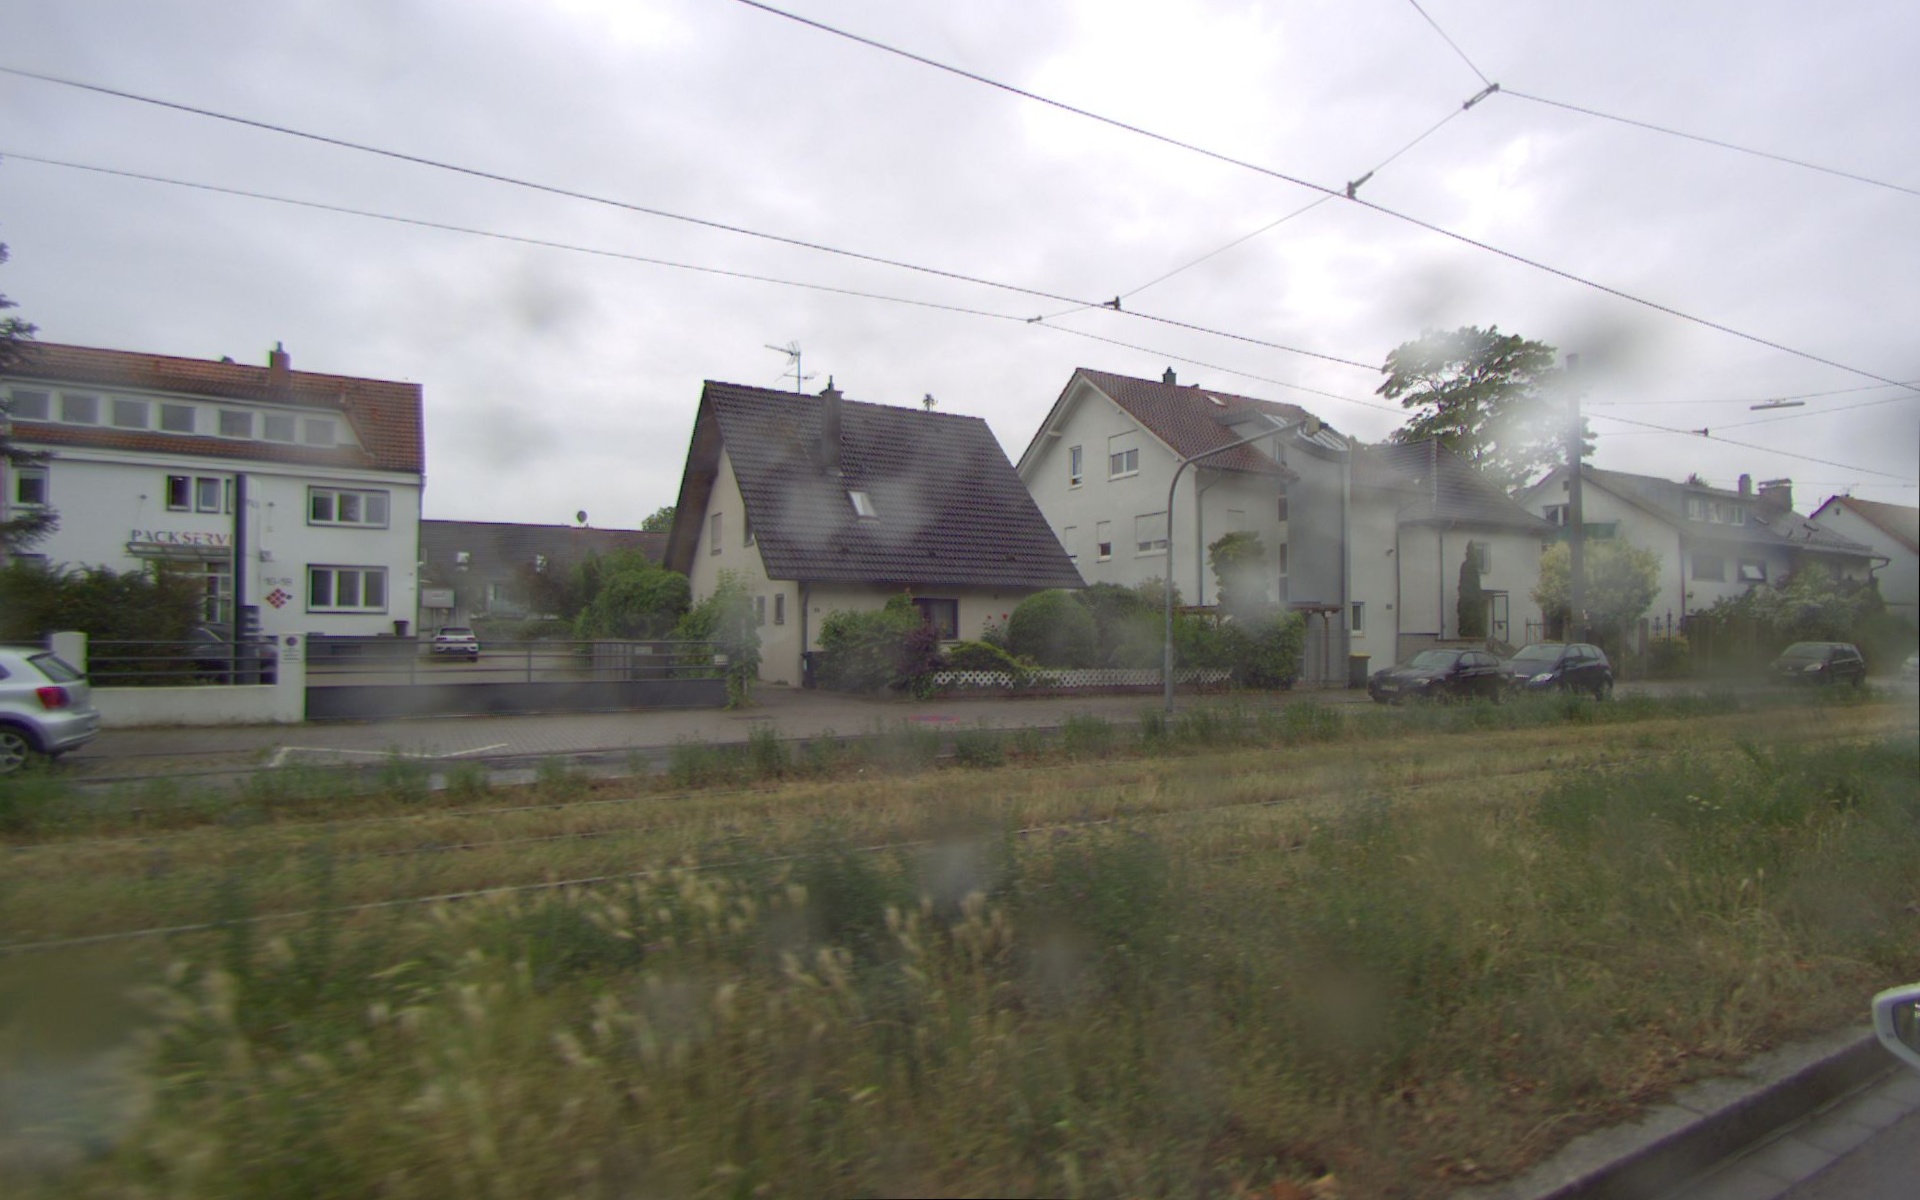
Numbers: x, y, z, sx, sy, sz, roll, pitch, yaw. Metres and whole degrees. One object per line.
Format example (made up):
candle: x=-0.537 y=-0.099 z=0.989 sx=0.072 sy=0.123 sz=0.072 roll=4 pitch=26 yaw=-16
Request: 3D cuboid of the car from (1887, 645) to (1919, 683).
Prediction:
car: x=41.223 y=2.698 z=42.627 sx=3.553 sy=1.508 sz=1.788 roll=1 pitch=-1 yaw=-29

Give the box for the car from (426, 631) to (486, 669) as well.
car: x=-22.466 y=2.201 z=44.678 sx=1.940 sy=1.572 sz=3.964 roll=1 pitch=-3 yaw=-33

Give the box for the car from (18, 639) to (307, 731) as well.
car: x=-14.358 y=1.476 z=18.398 sx=3.926 sy=1.430 sz=1.690 roll=1 pitch=-1 yaw=-31

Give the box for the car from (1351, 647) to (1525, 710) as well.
car: x=12.268 y=1.961 z=25.750 sx=4.189 sy=1.368 sz=1.985 roll=1 pitch=-1 yaw=-29

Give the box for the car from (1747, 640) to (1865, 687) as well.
car: x=31.044 y=2.301 z=36.845 sx=4.154 sy=1.536 sz=1.985 roll=1 pitch=-1 yaw=-29

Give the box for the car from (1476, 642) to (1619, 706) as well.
car: x=16.432 y=2.012 z=28.060 sx=3.825 sy=1.571 sz=1.864 roll=1 pitch=-1 yaw=-31

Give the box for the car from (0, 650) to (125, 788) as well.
car: x=-12.064 y=1.339 z=11.209 sx=3.926 sy=1.430 sz=1.983 roll=1 pitch=-1 yaw=-31
